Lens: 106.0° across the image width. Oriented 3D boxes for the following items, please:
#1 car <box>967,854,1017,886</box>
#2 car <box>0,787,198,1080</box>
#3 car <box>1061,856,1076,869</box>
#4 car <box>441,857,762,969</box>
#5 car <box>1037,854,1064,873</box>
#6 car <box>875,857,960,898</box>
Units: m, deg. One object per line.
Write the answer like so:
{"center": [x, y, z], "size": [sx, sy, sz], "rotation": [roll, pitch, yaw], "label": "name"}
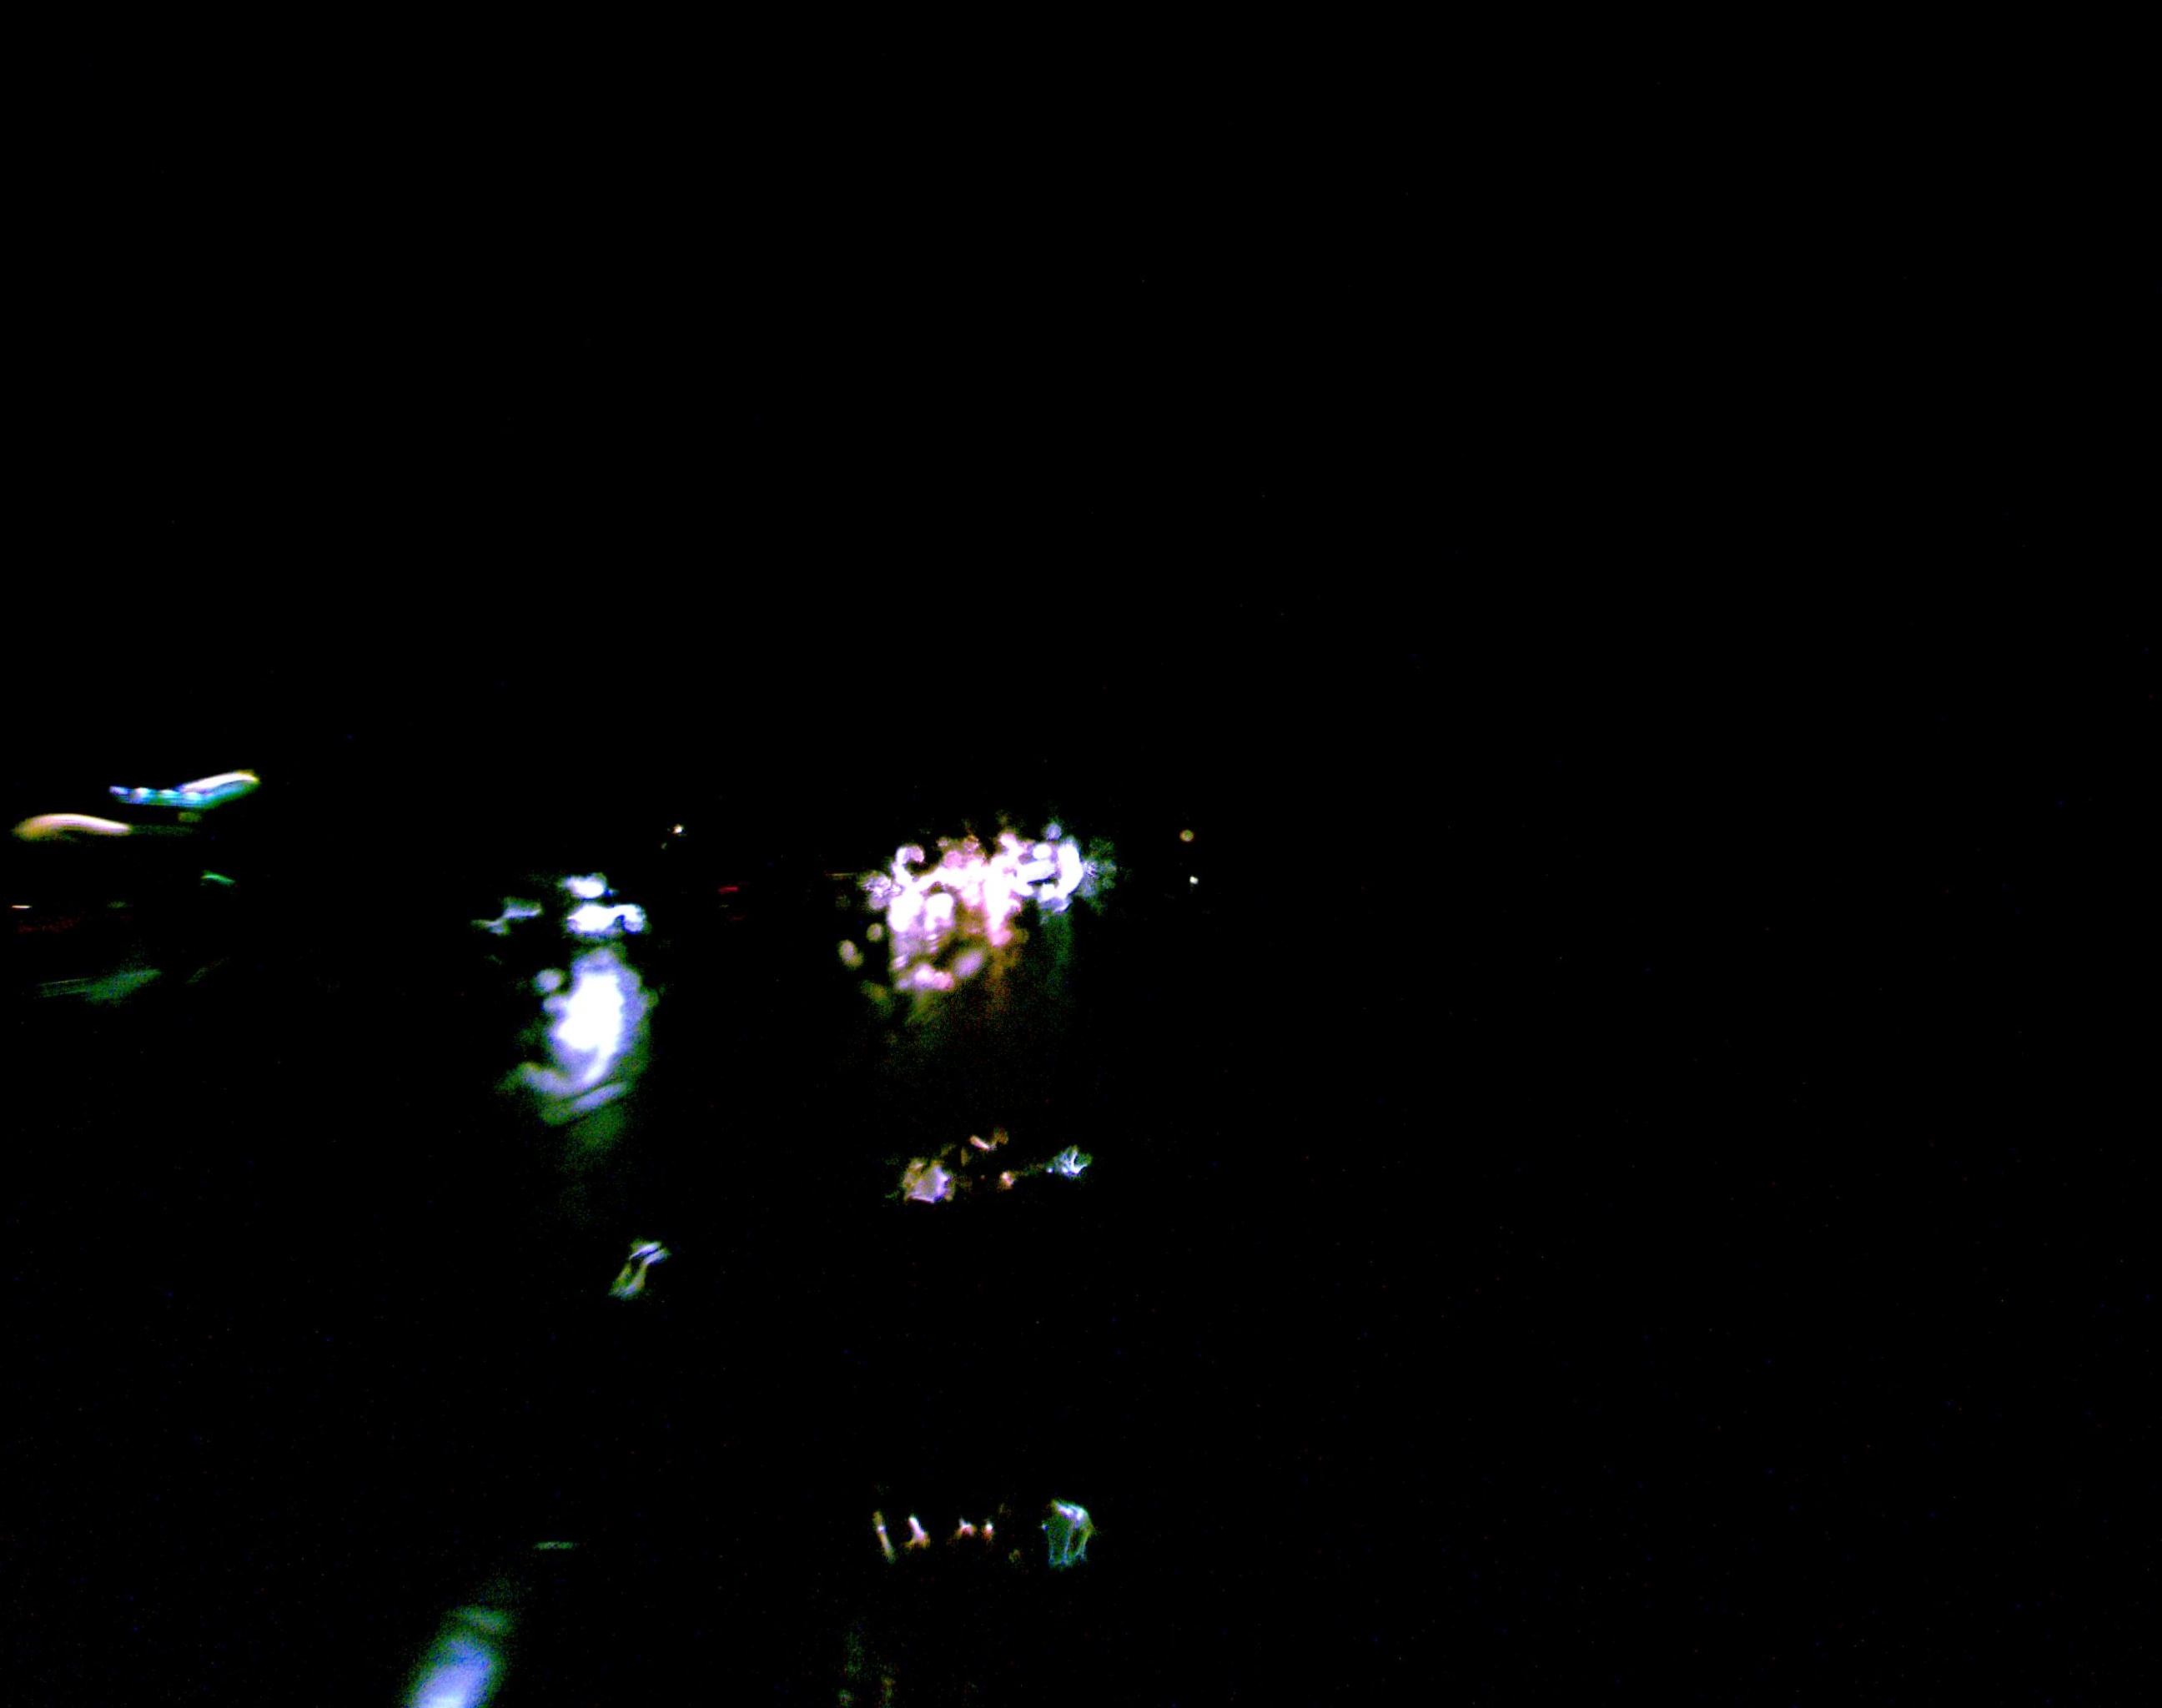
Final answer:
{"center": [-5.388, 0.931, 49.853], "size": [1.984, 1.865, 5.327], "rotation": [0, 0, 5], "label": "car"}
{"center": [-8.579, 0.535, 4.311], "size": [2.144, 2.014, 5.000], "rotation": [0, 0, 4], "label": "car"}
{"center": [-1.709, 1.155, 110.949], "size": [1.916, 1.615, 4.086], "rotation": [0, 0, 1], "label": "car"}
{"center": [-7.859, 0.851, 14.191], "size": [2.171, 1.558, 5.211], "rotation": [0, 0, 5], "label": "car"}
{"center": [-2.603, 0.837, 71.071], "size": [2.103, 1.575, 4.680], "rotation": [0, 0, 1], "label": "car"}
{"center": [-6.543, 0.908, 33.148], "size": [2.073, 1.542, 4.905], "rotation": [0, 0, 5], "label": "car"}
